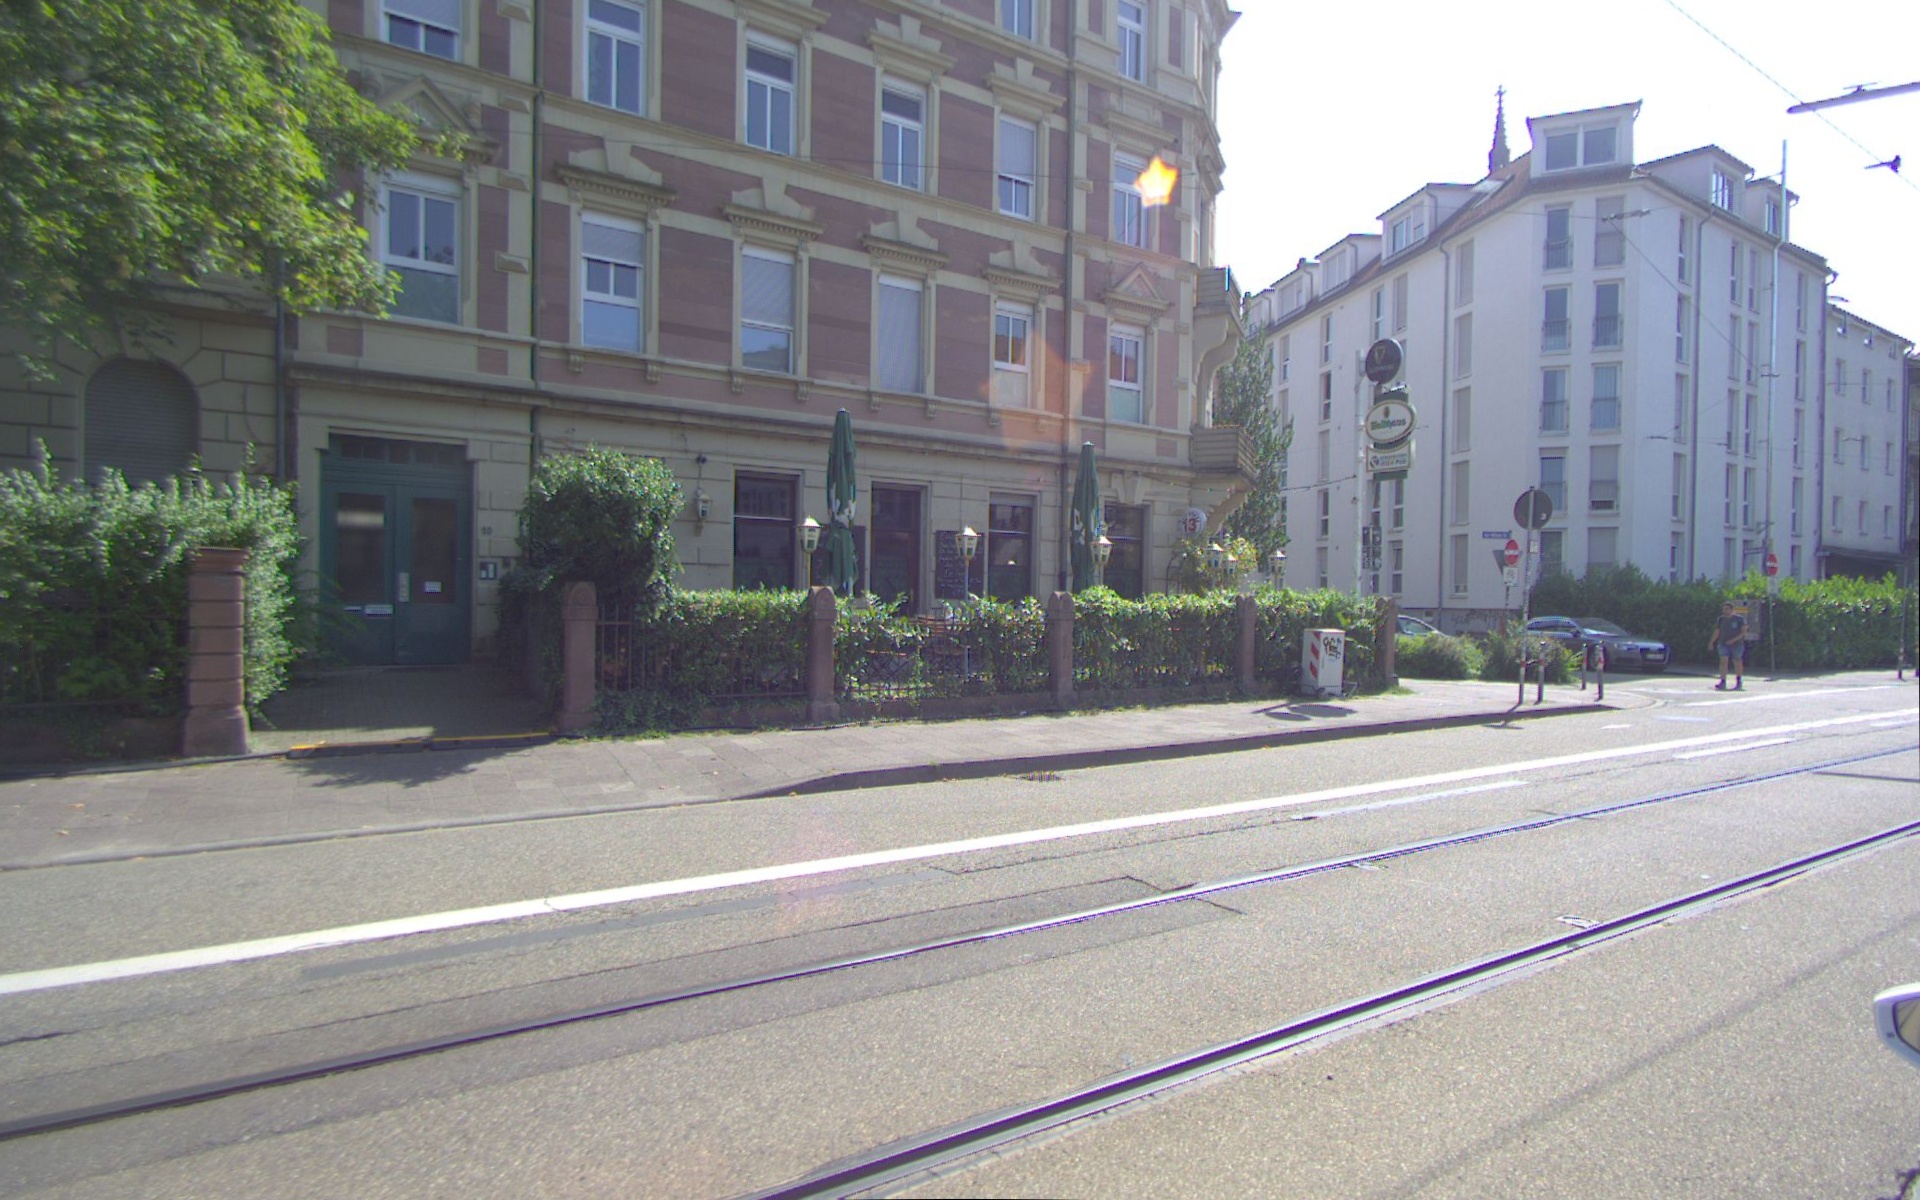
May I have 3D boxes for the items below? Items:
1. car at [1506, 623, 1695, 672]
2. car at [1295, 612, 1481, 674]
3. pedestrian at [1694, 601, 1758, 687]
[{"bbox_3d":[17.337,1.261,27.453,1.965,1.200,4.235,1,-1,-12],"label":"car"},{"bbox_3d":[10.042,1.008,23.657,3.746,1.360,1.689,1,-1,-11],"label":"car"},{"bbox_3d":[16.355,0.924,21.448,1.029,1.779,0.775,1,-1,-32],"label":"pedestrian"}]
